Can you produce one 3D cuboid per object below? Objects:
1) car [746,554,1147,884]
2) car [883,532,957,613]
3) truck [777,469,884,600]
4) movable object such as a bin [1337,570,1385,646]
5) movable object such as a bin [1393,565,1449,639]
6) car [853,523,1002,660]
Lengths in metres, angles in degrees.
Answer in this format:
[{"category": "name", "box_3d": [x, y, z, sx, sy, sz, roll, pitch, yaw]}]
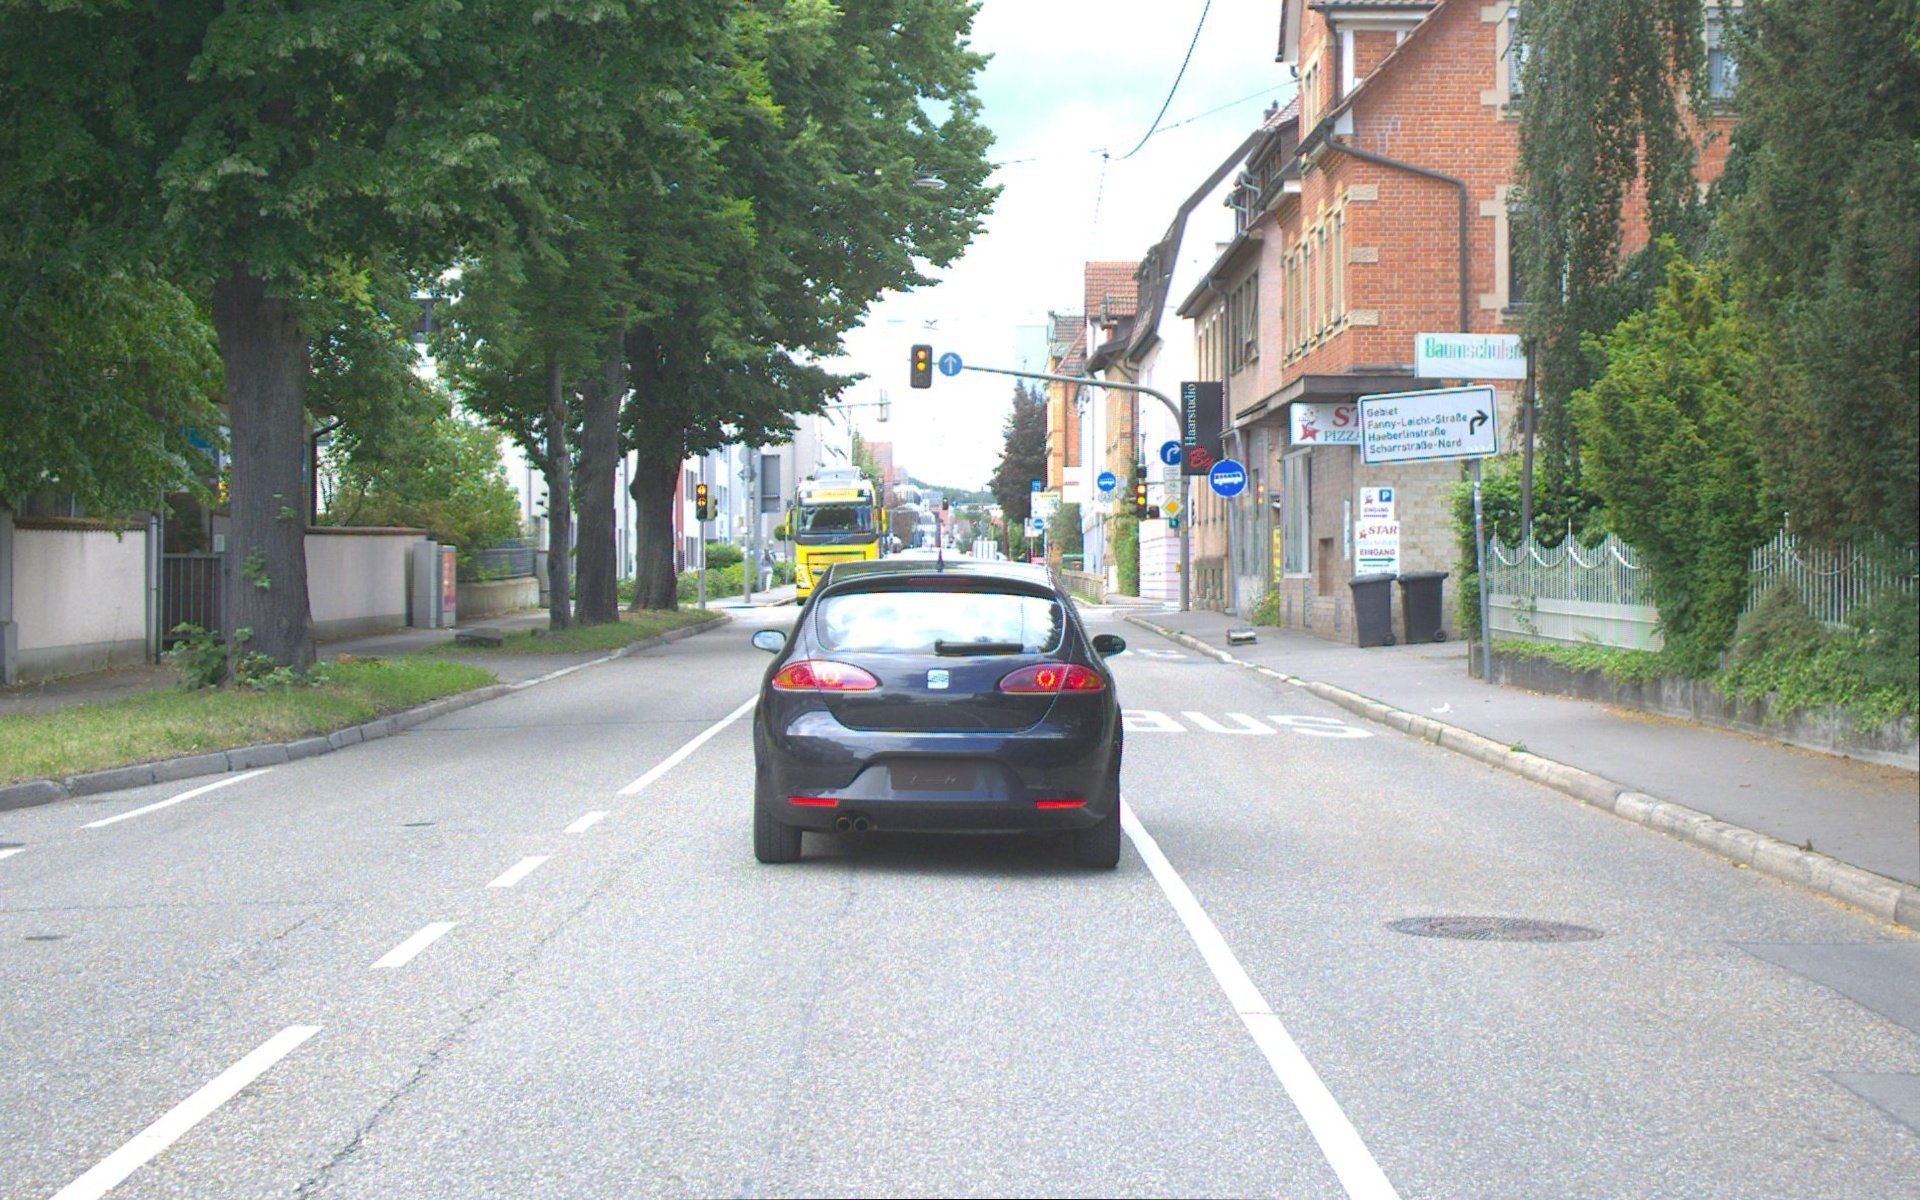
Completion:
[{"category": "car", "box_3d": [-0.064, 0.516, 17.304, 1.759, 1.437, 4.000, 1, 0, 0]}, {"category": "car", "box_3d": [-0.849, -0.599, 74.453, 1.531, 1.687, 3.693, 1, 0, 0]}, {"category": "truck", "box_3d": [-3.871, -1.949, 104.484, 2.844, 3.769, 7.669, 1, 0, 0]}, {"category": "movable object such as a bin", "box_3d": [5.883, 0.117, 50.482, 0.606, 1.097, 0.622, -2, 0, 0]}, {"category": "movable object such as a bin", "box_3d": [6.766, 0.024, 50.517, 0.698, 1.055, 0.723, -2, 0, 0]}, {"category": "car", "box_3d": [-0.422, -0.123, 45.188, 1.842, 1.687, 4.000, 1, 0, 0]}]
